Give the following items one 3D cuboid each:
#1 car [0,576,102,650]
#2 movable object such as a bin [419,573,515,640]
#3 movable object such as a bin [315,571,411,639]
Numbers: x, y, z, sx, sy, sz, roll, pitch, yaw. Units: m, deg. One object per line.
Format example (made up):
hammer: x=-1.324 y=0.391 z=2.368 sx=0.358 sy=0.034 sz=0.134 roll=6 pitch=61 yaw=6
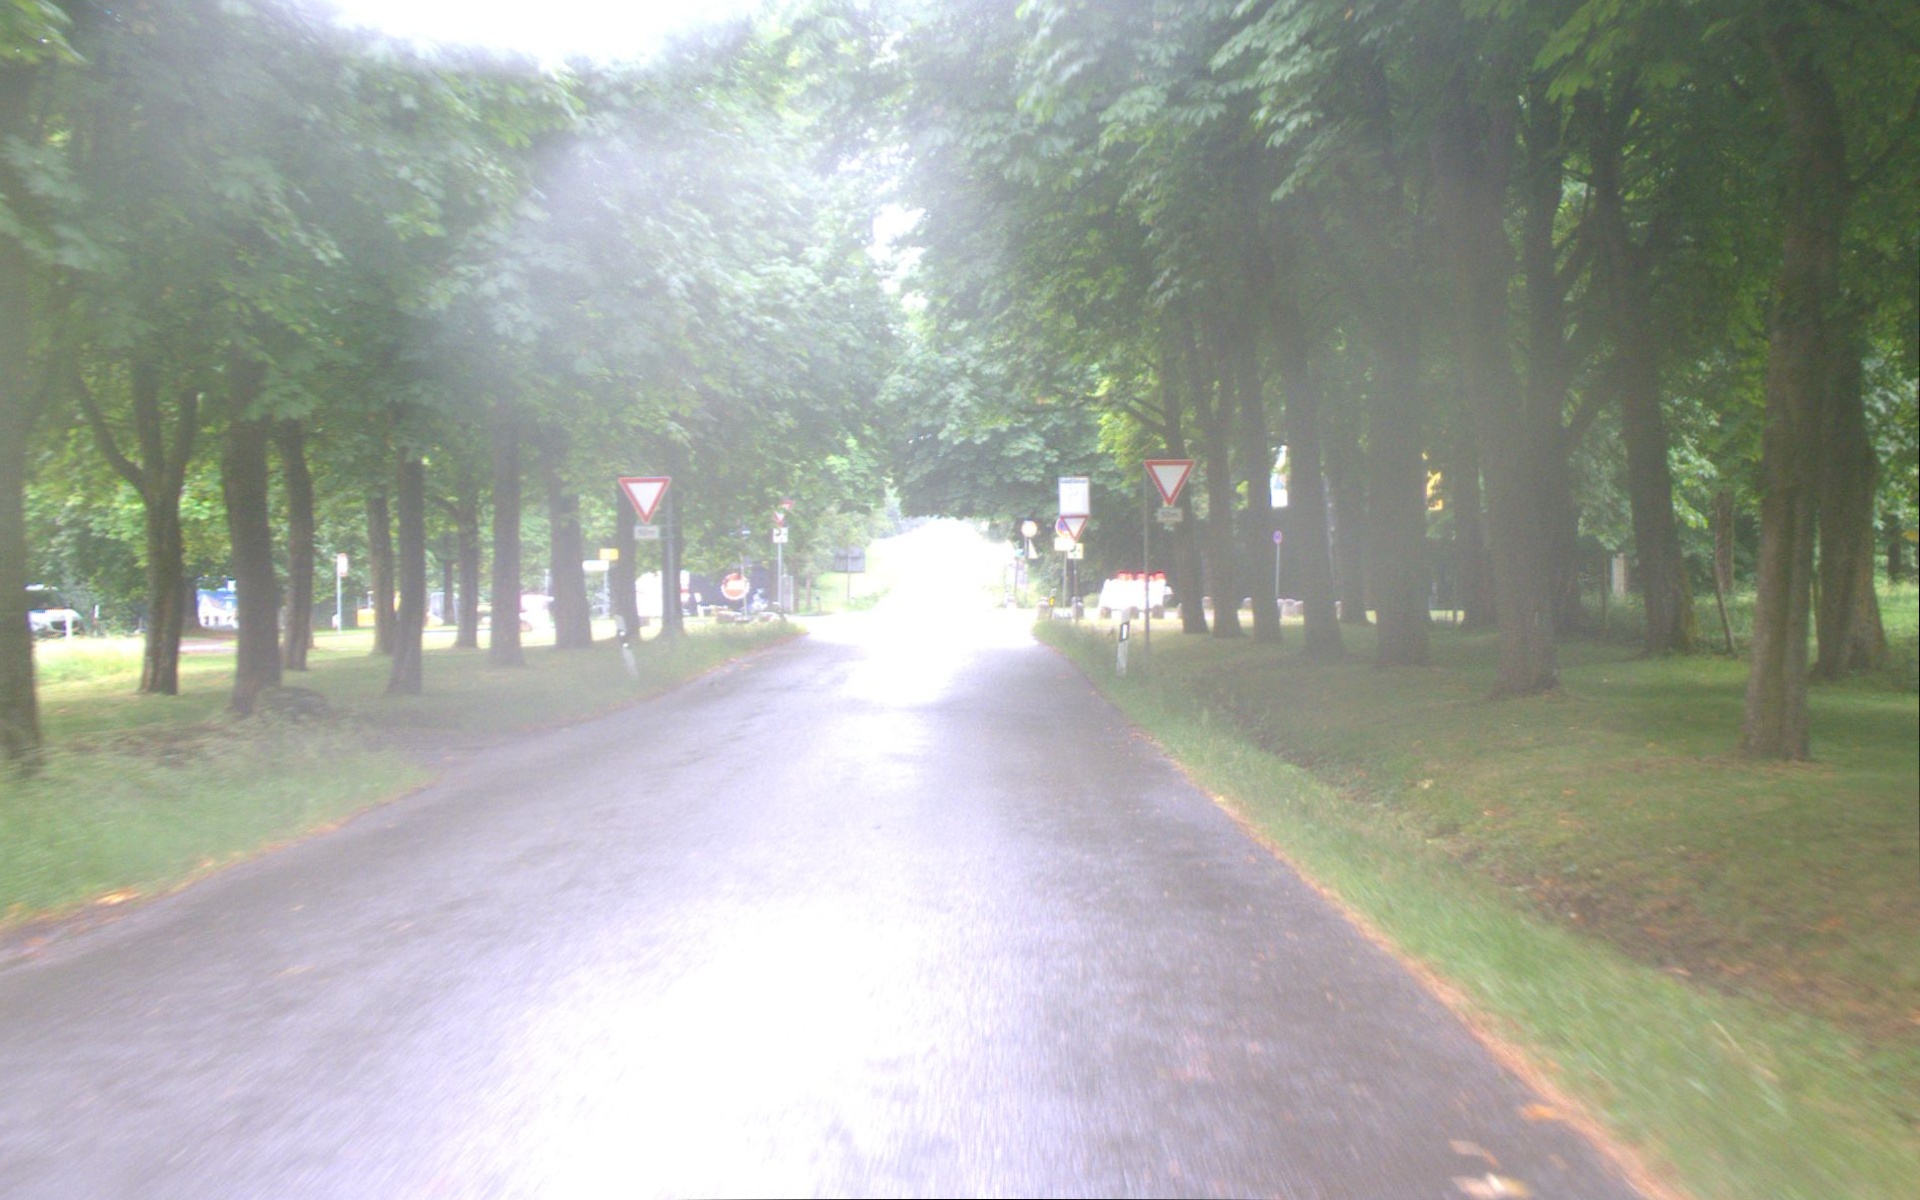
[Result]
car: x=-32.387 y=0.487 z=118.723 sx=5.978 sy=2.399 sz=2.387 roll=-2 pitch=-2 yaw=42
movable object such as a bin: x=-25.046 y=0.330 z=174.603 sx=4.580 sy=3.283 sz=3.667 roll=-1 pitch=0 yaw=-11
movable object such as a bin: x=-30.060 y=0.238 z=172.998 sx=4.653 sy=3.283 sz=3.914 roll=-1 pitch=0 yaw=-11
